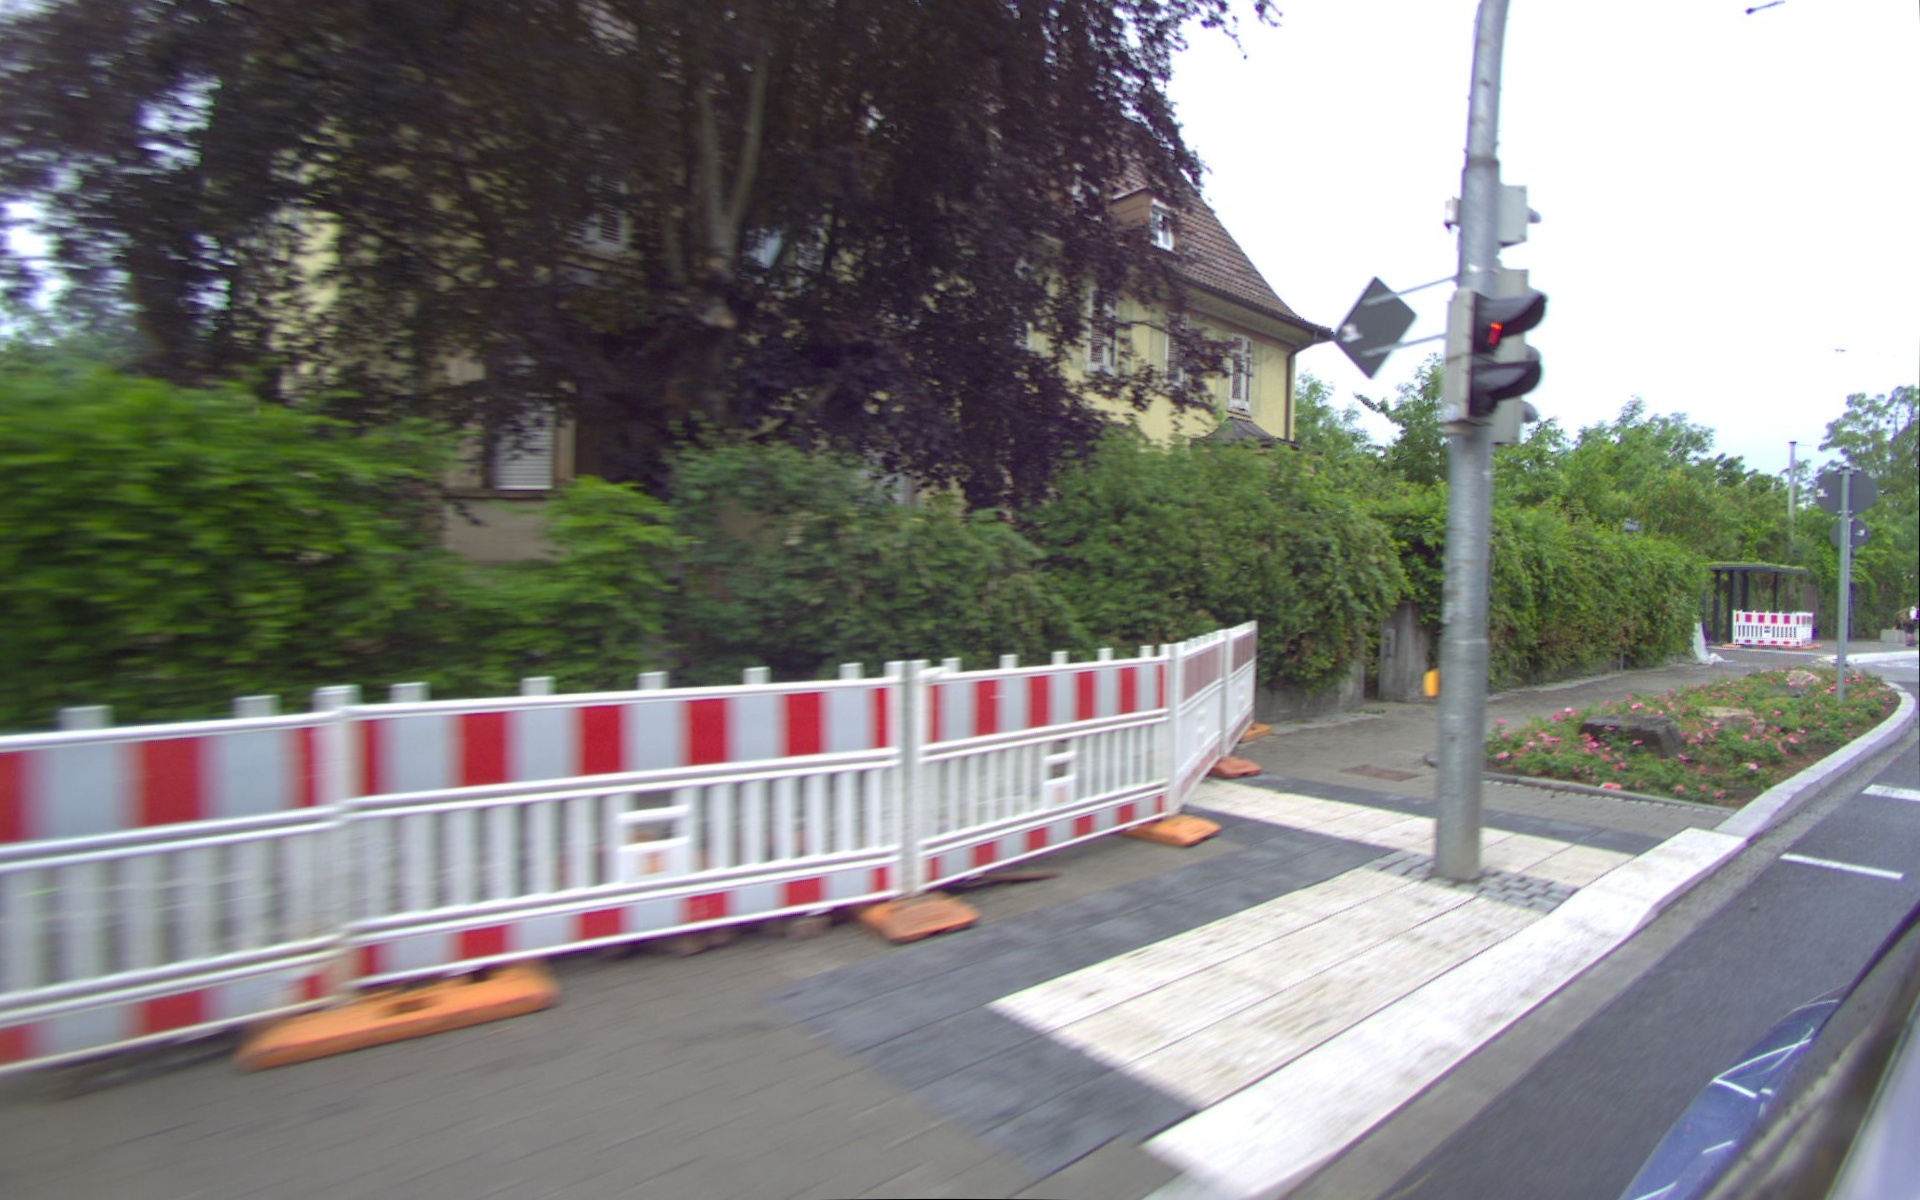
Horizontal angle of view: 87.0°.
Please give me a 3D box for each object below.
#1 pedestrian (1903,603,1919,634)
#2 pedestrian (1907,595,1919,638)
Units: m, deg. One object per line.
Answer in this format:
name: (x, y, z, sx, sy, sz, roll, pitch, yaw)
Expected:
pedestrian: (42.288, 0.810, 44.384, 1.053, 1.346, 0.805, 1, 0, 18)
pedestrian: (36.093, 0.619, 37.782, 0.908, 1.566, 0.542, 1, 0, 18)
